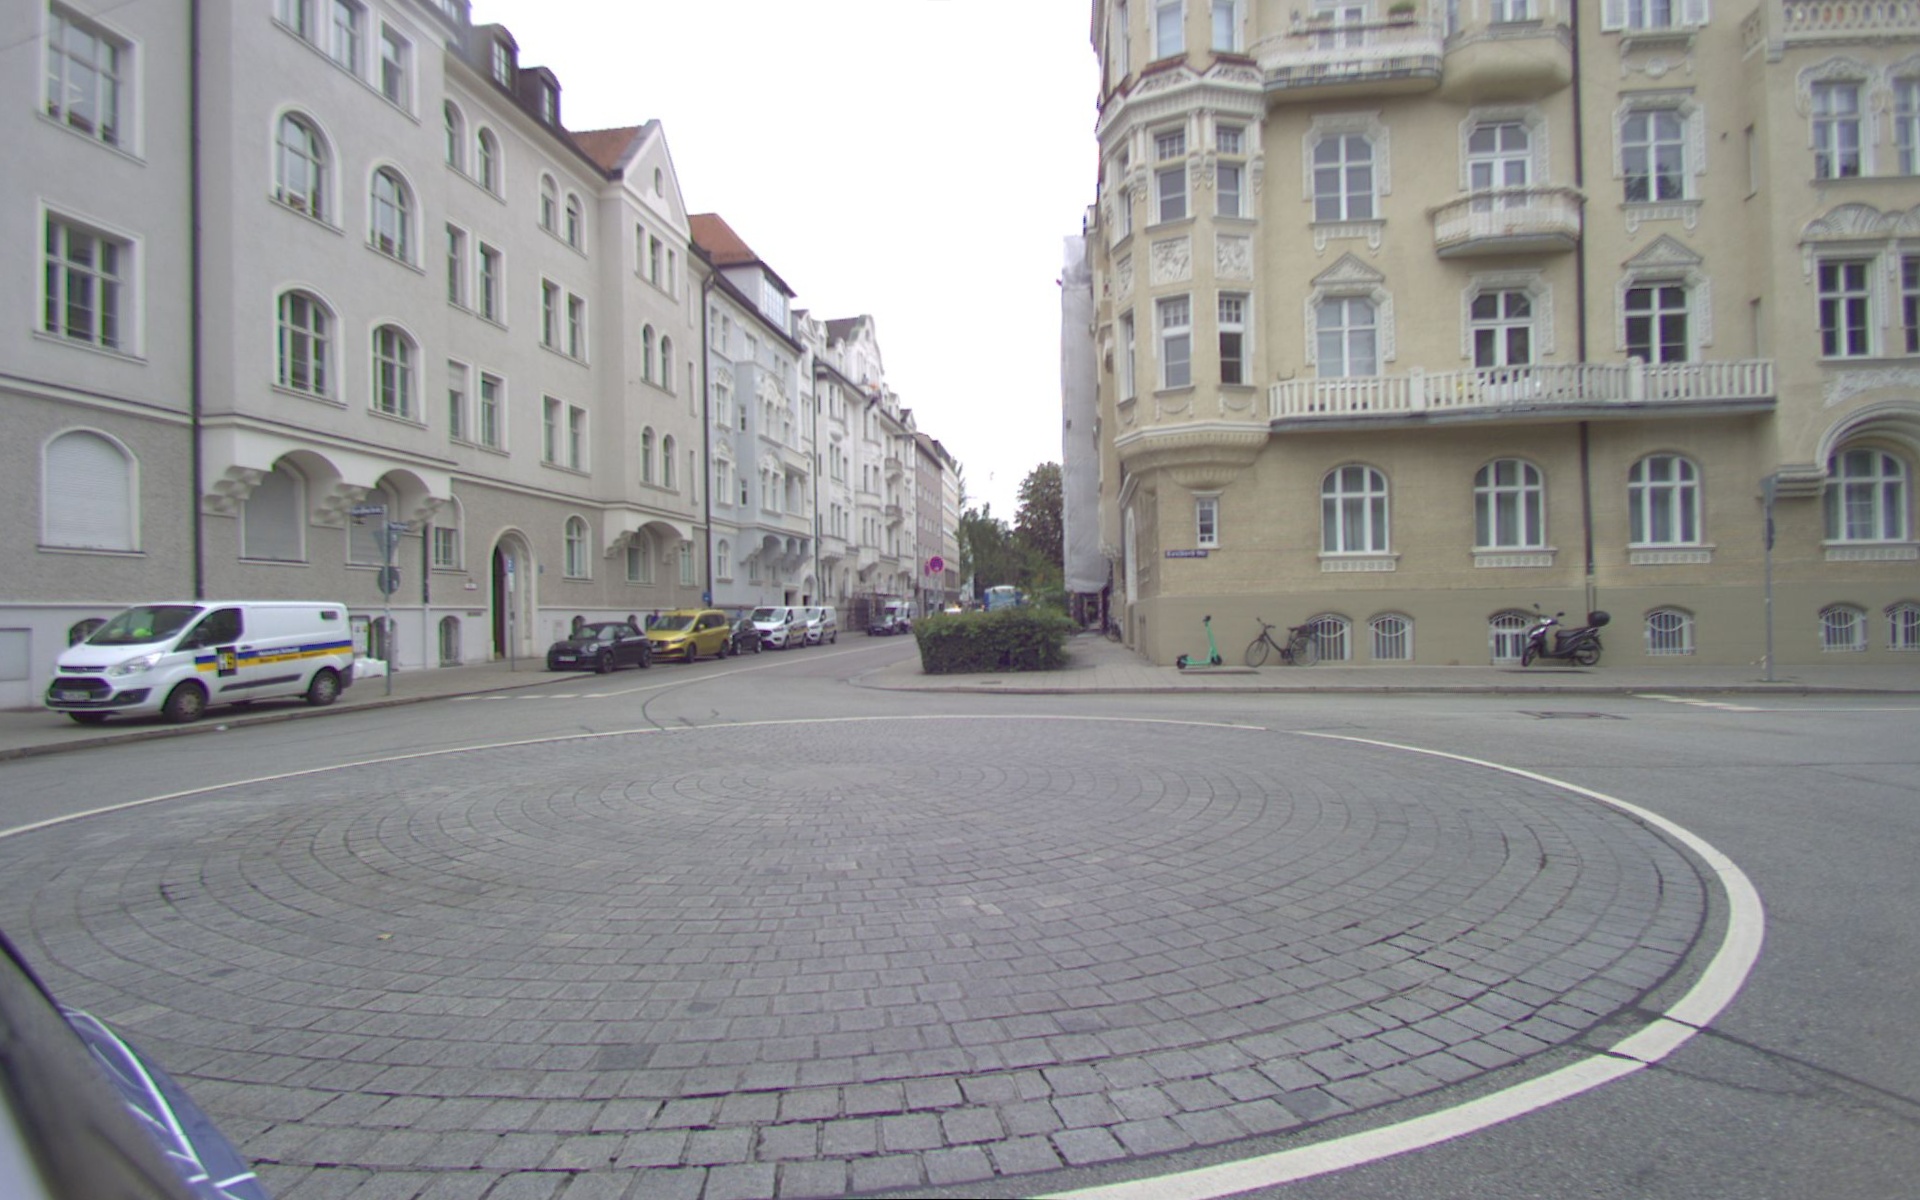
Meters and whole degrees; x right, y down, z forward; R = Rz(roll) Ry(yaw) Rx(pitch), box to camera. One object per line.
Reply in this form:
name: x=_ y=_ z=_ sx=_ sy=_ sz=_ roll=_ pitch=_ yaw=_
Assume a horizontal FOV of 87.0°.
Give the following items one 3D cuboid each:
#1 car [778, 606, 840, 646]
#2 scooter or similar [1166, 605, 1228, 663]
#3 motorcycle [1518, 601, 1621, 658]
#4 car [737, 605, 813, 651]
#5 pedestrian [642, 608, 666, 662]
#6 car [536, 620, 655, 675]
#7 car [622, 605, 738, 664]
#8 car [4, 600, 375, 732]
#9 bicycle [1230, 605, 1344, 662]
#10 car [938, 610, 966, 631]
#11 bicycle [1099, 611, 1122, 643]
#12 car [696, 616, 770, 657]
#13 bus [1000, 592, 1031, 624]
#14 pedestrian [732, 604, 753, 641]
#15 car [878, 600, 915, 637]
car: x=-7.768 y=1.299 z=52.613 sx=1.976 sy=1.933 sz=4.868 roll=-1 pitch=-1 yaw=7
scooter or similar: x=5.393 y=0.761 z=23.065 sx=1.263 sy=1.281 sz=0.460 roll=-1 pitch=-1 yaw=-10
motorcycle: x=13.268 y=0.638 z=22.062 sx=1.723 sy=1.195 sz=0.741 roll=-1 pitch=-1 yaw=4
car: x=-8.424 y=1.243 z=46.536 sx=1.977 sy=1.933 sz=4.874 roll=-1 pitch=-1 yaw=8
pedestrian: x=-11.532 y=1.315 z=38.195 sx=0.579 sy=2.029 sz=0.725 roll=-2 pitch=-1 yaw=11
car: x=-10.701 y=1.369 z=30.004 sx=1.698 sy=1.456 sz=3.817 roll=-1 pitch=-1 yaw=8
car: x=-9.713 y=1.156 z=35.504 sx=1.980 sy=1.933 sz=4.552 roll=-1 pitch=-1 yaw=13
car: x=-12.921 y=0.997 z=17.576 sx=1.922 sy=1.936 sz=5.362 roll=0 pitch=-1 yaw=7
bicycle: x=7.416 y=0.753 z=23.021 sx=2.309 sy=1.212 sz=0.698 roll=-1 pitch=-1 yaw=3
car: x=-0.616 y=1.681 z=83.955 sx=1.896 sy=1.670 sz=4.595 roll=-1 pitch=-1 yaw=5
bicycle: x=6.039 y=1.085 z=40.613 sx=0.813 sy=1.215 sz=2.072 roll=-3 pitch=-1 yaw=7
car: x=-9.086 y=1.420 z=40.801 sx=1.620 sy=1.525 sz=3.874 roll=-2 pitch=-1 yaw=9
bus: x=6.241 y=0.874 z=111.758 sx=3.140 sy=3.236 sz=18.035 roll=0 pitch=0 yaw=4
pedestrian: x=-11.308 y=1.165 z=52.650 sx=0.845 sy=1.917 sz=0.743 roll=-1 pitch=-1 yaw=11
car: x=-4.823 y=1.395 z=77.499 sx=2.057 sy=2.709 sz=5.436 roll=0 pitch=-1 yaw=5
